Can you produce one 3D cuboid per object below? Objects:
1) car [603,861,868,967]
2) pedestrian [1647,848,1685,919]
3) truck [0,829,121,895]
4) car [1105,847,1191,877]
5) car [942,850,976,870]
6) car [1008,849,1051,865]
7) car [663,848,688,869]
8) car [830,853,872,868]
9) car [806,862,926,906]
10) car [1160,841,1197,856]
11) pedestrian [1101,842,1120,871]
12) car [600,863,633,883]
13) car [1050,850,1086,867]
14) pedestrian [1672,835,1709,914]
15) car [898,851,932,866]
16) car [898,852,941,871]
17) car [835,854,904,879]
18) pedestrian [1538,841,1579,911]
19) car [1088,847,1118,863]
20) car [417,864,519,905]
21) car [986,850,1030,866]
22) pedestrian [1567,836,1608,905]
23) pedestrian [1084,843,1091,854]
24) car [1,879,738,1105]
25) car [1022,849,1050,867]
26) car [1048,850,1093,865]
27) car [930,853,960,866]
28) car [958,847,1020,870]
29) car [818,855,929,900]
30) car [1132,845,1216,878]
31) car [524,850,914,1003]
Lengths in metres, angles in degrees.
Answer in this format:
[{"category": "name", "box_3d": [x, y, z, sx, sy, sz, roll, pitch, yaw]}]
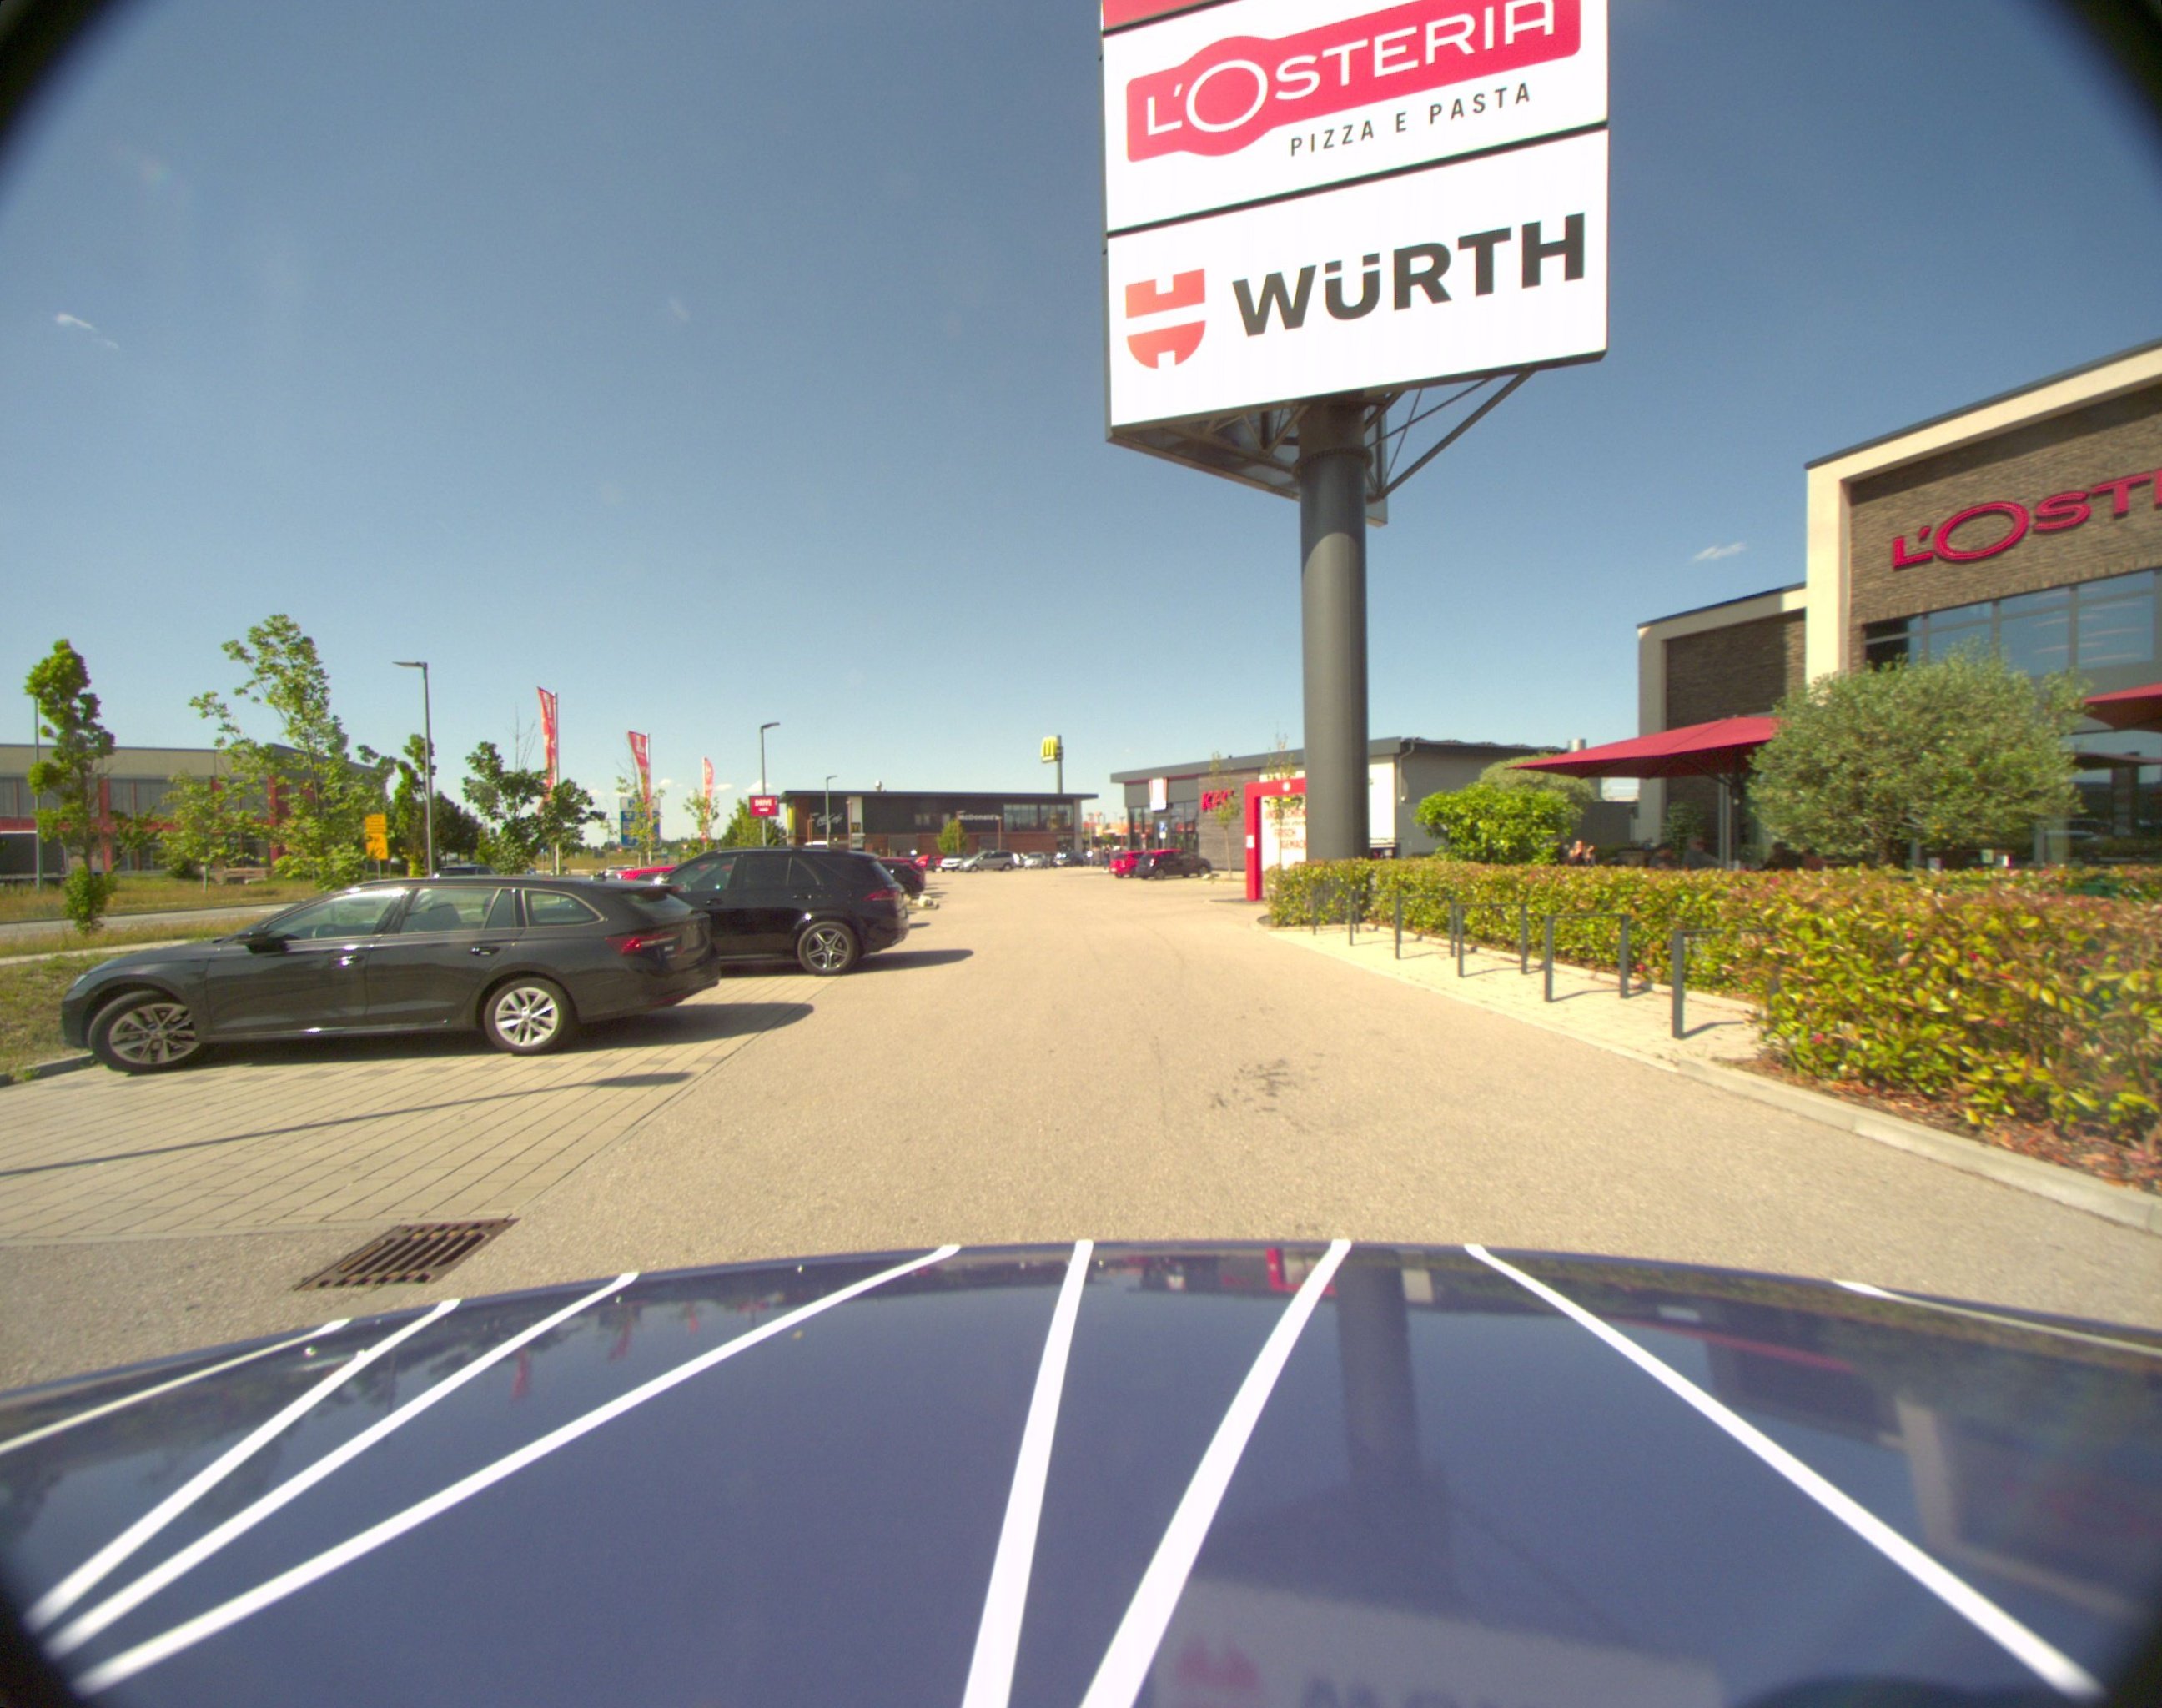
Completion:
[{"category": "car", "box_3d": [-6.179, 1.017, 14.095, 4.082, 1.599, 1.894, -2, 0, -11]}, {"category": "pedestrian", "box_3d": [10.049, 0.489, 13.043, 0.480, 1.178, 0.652, -1, 1, 39]}, {"category": "truck", "box_3d": [-58.691, 0.468, 41.741, 6.838, 3.460, 2.764, -2, 0, -20]}, {"category": "car", "box_3d": [3.647, 0.400, 41.347, 4.407, 1.405, 1.736, -3, 1, -28]}, {"category": "car", "box_3d": [-10.584, 0.492, 66.321, 1.973, 1.645, 4.208, -1, 0, 4]}, {"category": "car", "box_3d": [-5.341, 0.278, 79.041, 4.105, 1.506, 1.816, -1, 1, 20]}, {"category": "car", "box_3d": [-44.038, 0.520, 82.586, 2.002, 2.184, 5.096, -2, 0, -25]}, {"category": "car", "box_3d": [-26.807, 0.725, 88.753, 1.991, 1.681, 4.245, 0, 1, 40]}, {"category": "car", "box_3d": [-8.178, 1.101, 29.072, 4.208, 1.402, 1.771, -2, 1, -16]}, {"category": "car", "box_3d": [11.138, -0.654, 86.654, 3.992, 1.543, 1.757, -1, 0, 17]}, {"category": "pedestrian", "box_3d": [1.878, 0.149, 48.556, 0.727, 1.799, 0.992, -3, 2, -30]}, {"category": "car", "box_3d": [-42.972, 1.716, 70.363, 2.031, 1.707, 4.293, -2, 0, -24]}, {"category": "car", "box_3d": [-1.124, 0.381, 70.977, 1.971, 1.478, 4.789, -1, 0, 17]}, {"category": "pedestrian", "box_3d": [10.765, 0.352, 13.420, 0.480, 1.359, 0.652, -1, 1, 39]}, {"category": "car", "box_3d": [-19.041, 0.531, 87.206, 1.959, 1.593, 4.472, -1, 0, 14]}, {"category": "car", "box_3d": [-13.741, 0.649, 64.887, 1.972, 1.517, 4.211, -1, 0, 11]}, {"category": "car", "box_3d": [-14.756, 0.831, 53.108, 4.485, 1.461, 1.830, -3, 1, -19]}, {"category": "pedestrian", "box_3d": [10.436, 0.475, 16.611, 0.526, 1.496, 0.568, -2, 1, -28]}, {"category": "car", "box_3d": [2.171, 0.038, 73.460, 1.833, 1.451, 4.375, -1, 0, 15]}, {"category": "car", "box_3d": [-29.306, 1.387, 36.534, 2.001, 1.723, 4.753, -2, 0, -14]}, {"category": "car", "box_3d": [-7.421, 0.402, 77.164, 4.105, 1.484, 1.714, -1, 1, 20]}, {"category": "pedestrian", "box_3d": [11.213, 0.364, 16.826, 0.526, 1.496, 0.568, -2, 1, -28]}, {"category": "pedestrian", "box_3d": [0.895, -0.823, 110.420, 0.700, 1.550, 0.723, -1, 1, 36]}, {"category": "car", "box_3d": [-5.697, 1.038, 6.733, 4.455, 1.478, 1.876, -1, 0, -8]}, {"category": "car", "box_3d": [-4.066, 0.362, 69.305, 1.973, 1.517, 4.208, -1, 0, 4]}, {"category": "car", "box_3d": [-1.114, 0.371, 80.041, 4.271, 1.478, 1.816, -1, 1, 20]}, {"category": "car", "box_3d": [-15.783, 0.624, 88.513, 1.959, 1.457, 4.471, -1, 0, 11]}, {"category": "car", "box_3d": [-7.553, 0.340, 62.703, 4.689, 1.738, 1.829, -2, 1, -26]}, {"category": "car", "box_3d": [-8.569, 0.942, 31.648, 4.233, 1.628, 1.948, -2, 1, -13]}, {"category": "car", "box_3d": [4.757, 0.370, 38.846, 3.913, 1.498, 1.737, -3, 1, -26]}, {"category": "car", "box_3d": [-4.842, 0.909, 10.848, 4.590, 1.750, 1.894, -2, 1, -8]}]
